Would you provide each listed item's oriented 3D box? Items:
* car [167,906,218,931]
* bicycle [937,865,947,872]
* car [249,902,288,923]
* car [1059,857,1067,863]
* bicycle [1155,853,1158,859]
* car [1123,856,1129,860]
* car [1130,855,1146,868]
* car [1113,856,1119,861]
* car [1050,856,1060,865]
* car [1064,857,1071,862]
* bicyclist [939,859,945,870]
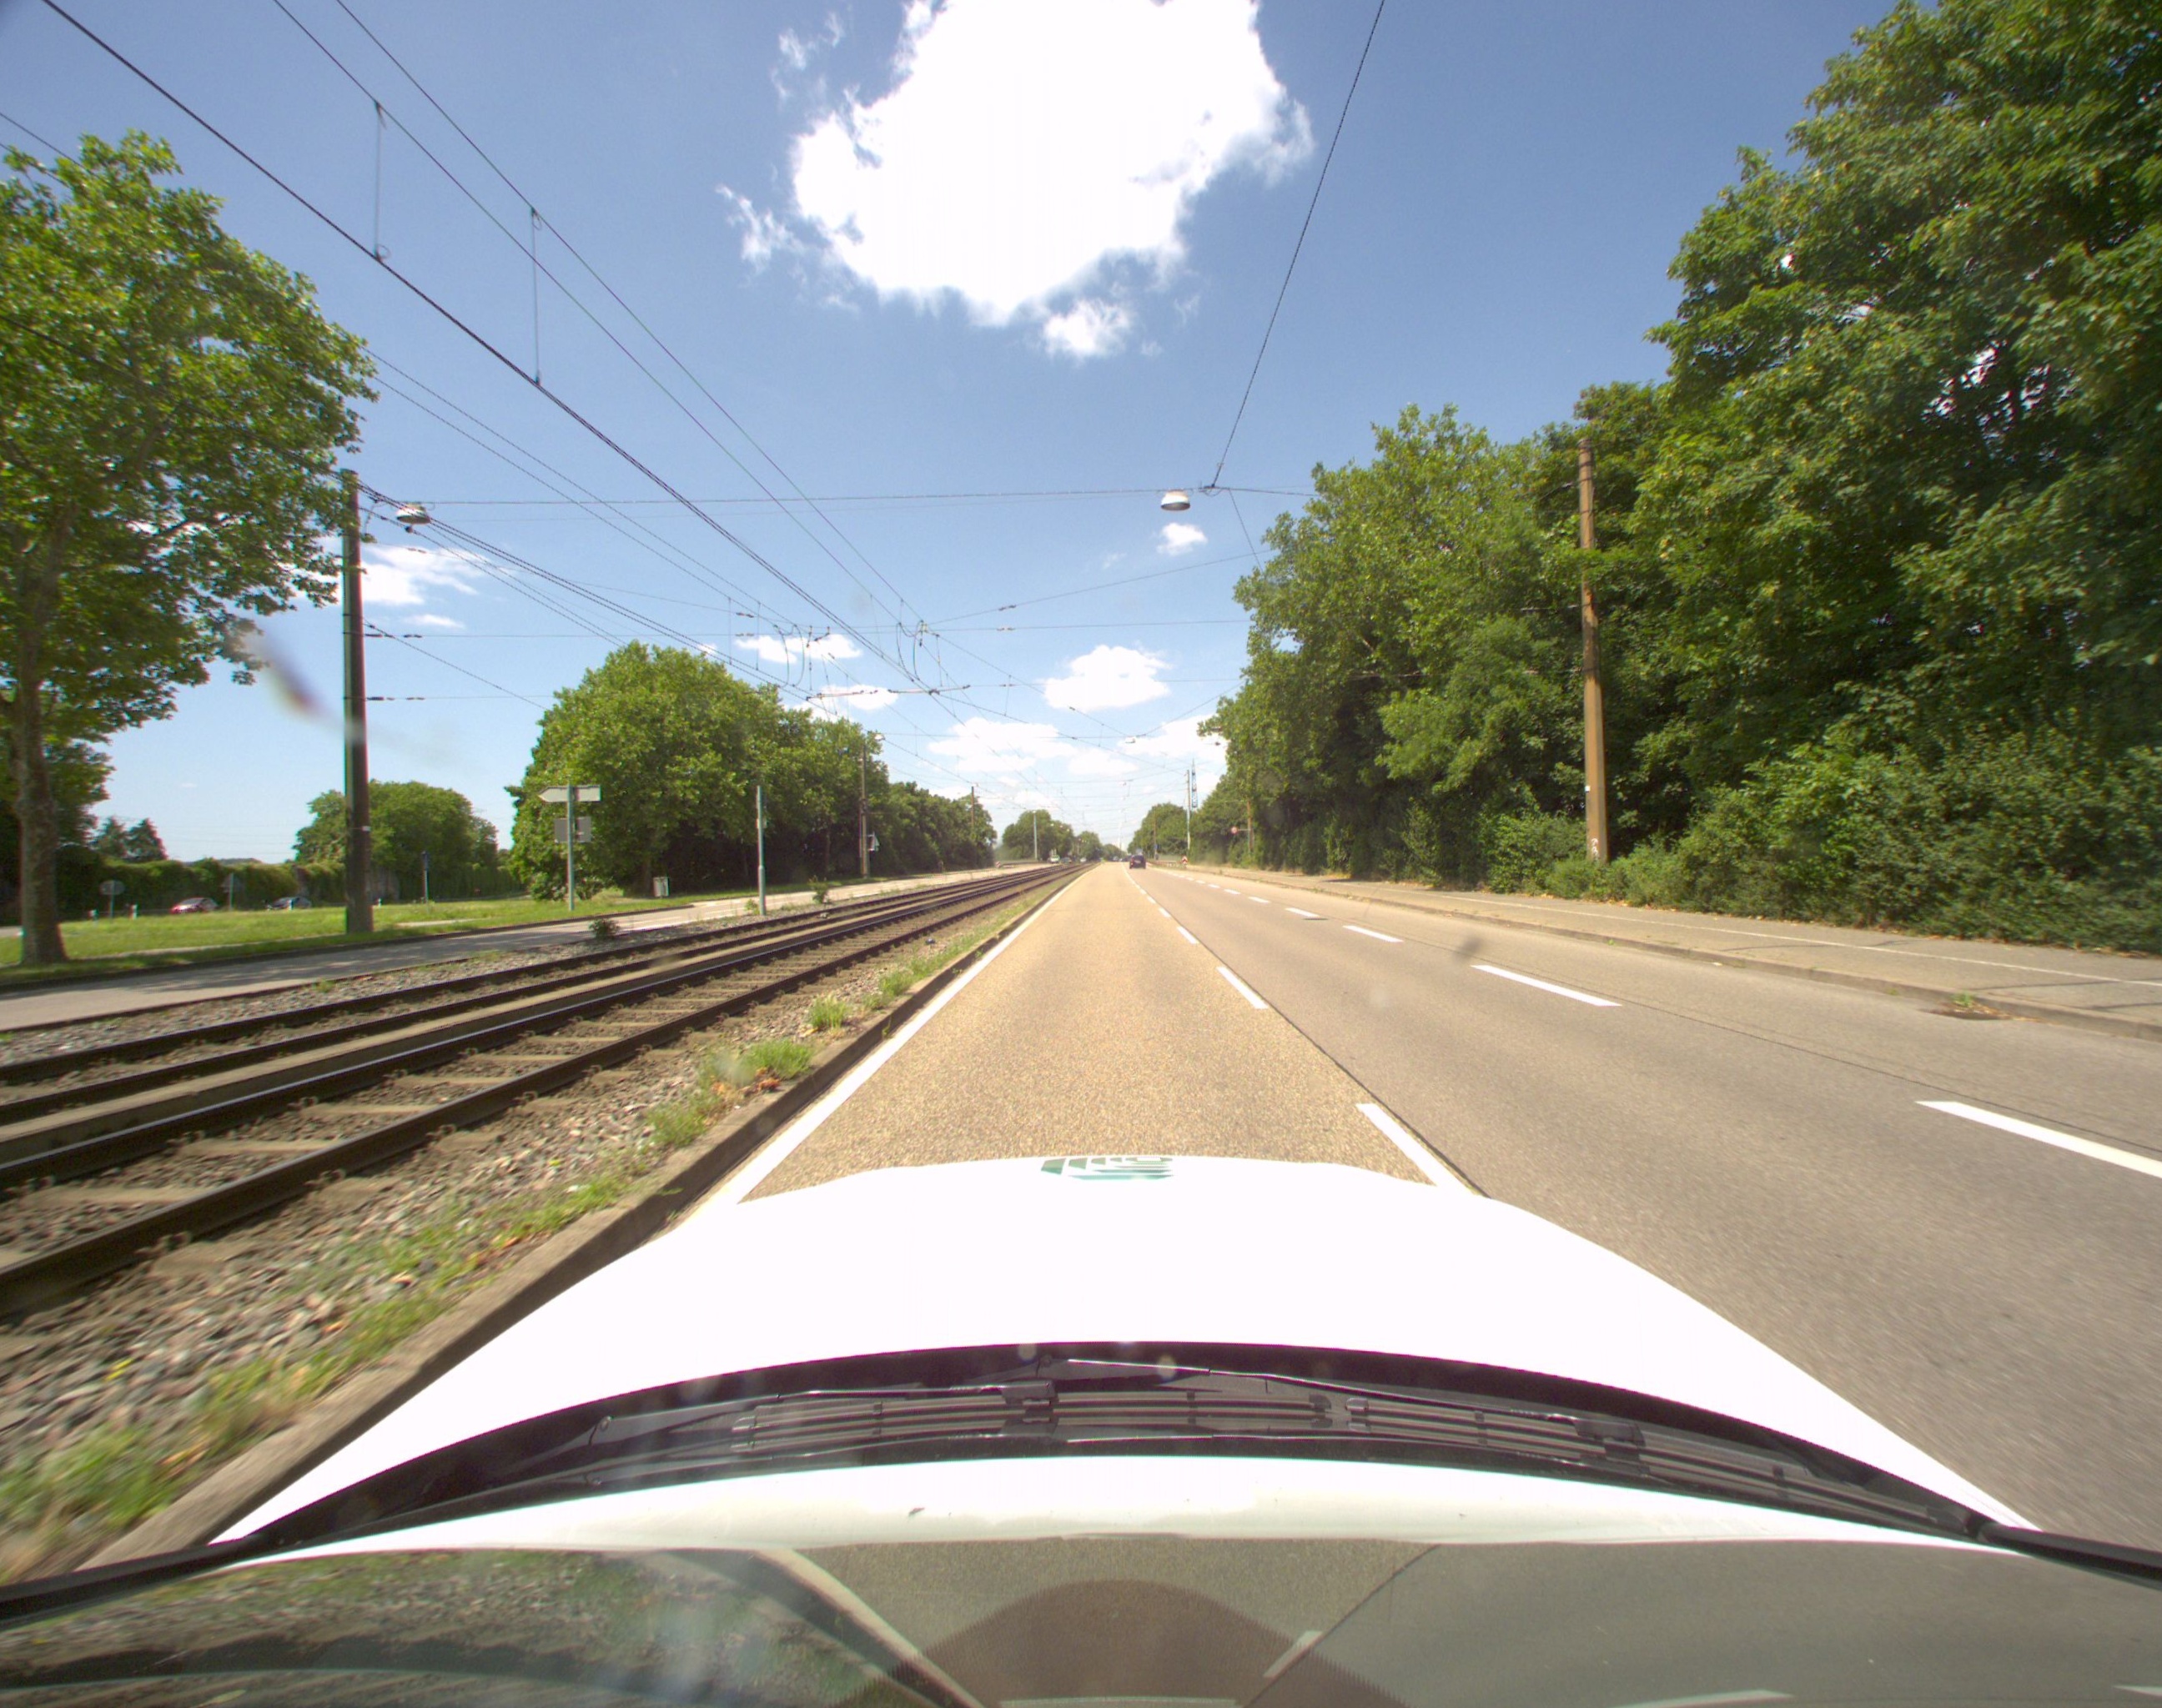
[{"bbox_3d":[-74.193,5.399,68.053,1.567,1.792,3.373,-2,0,-23],"label":"car"},{"bbox_3d":[-16.583,1.728,97.181,0.583,0.819,2.071,-3,0,5],"label":"bicycle"},{"bbox_3d":[-79.729,5.676,79.950,1.567,1.792,3.373,-2,0,-23],"label":"car"},{"bbox_3d":[-4.762,1.631,214.809,1.557,1.347,3.931,-3,-1,3],"label":"car"},{"bbox_3d":[13.956,0.377,150.207,0.557,1.024,1.849,-2,-1,3],"label":"bicycle"},{"bbox_3d":[11.867,1.186,215.311,1.426,1.030,3.372,0,0,2],"label":"car"},{"bbox_3d":[6.352,0.797,90.347,1.580,1.343,3.273,-2,0,1],"label":"car"},{"bbox_3d":[11.040,1.534,256.888,1.986,1.530,4.002,0,-1,2],"label":"car"},{"bbox_3d":[-5.852,1.494,184.876,1.804,1.925,5.182,-3,-1,3],"label":"car"},{"bbox_3d":[-3.953,1.683,235.745,1.568,1.400,3.940,-2,-1,2],"label":"car"},{"bbox_3d":[-16.583,1.248,97.181,0.566,1.368,0.632,0,-1,4],"label":"bicyclist"}]
